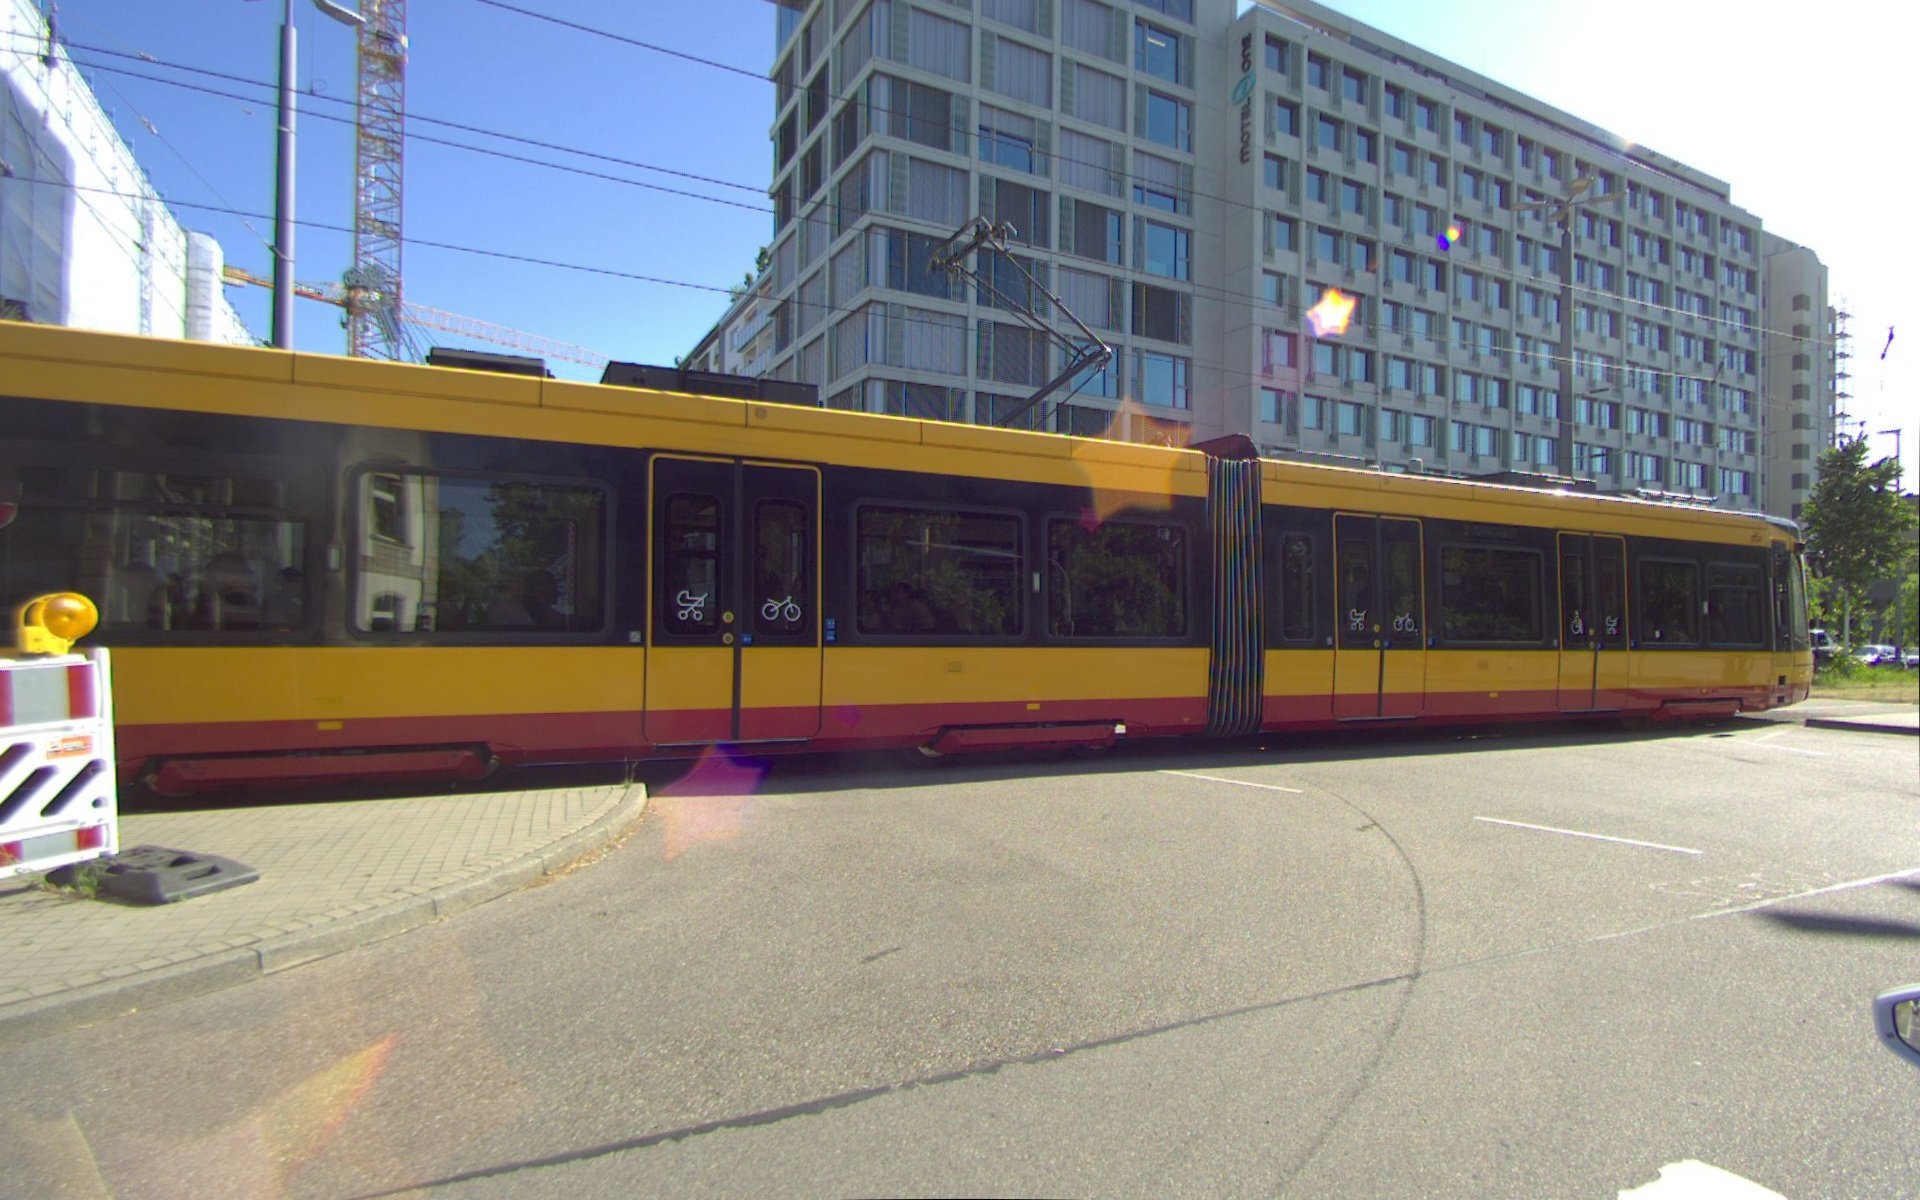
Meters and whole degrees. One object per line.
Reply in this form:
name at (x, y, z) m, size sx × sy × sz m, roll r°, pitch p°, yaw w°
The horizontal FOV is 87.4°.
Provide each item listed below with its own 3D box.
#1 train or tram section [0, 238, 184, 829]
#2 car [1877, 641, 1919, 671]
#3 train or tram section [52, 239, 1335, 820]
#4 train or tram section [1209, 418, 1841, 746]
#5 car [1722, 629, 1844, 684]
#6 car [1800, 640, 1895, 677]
train or tram section at (-12.301, -0.617, 4.302) m, size 13.967 × 3.718 × 1.987 m, roll 2°, pitch 0°, yaw -27°
car at (54.951, 3.207, 57.760) m, size 3.949 × 1.572 × 1.986 m, roll 2°, pitch -1°, yaw -27°
train or tram section at (-1.193, -0.288, 9.826) m, size 11.168 × 3.718 × 1.987 m, roll 2°, pitch 0°, yaw -27°
train or tram section at (8.883, -0.034, 14.850) m, size 11.531 × 3.718 × 1.987 m, roll 2°, pitch 0°, yaw -27°
car at (30.342, 2.069, 37.012) m, size 4.232 × 1.843 × 1.986 m, roll 2°, pitch 0°, yaw -28°
car at (40.935, 2.680, 46.348) m, size 3.949 × 1.572 × 1.986 m, roll 2°, pitch -1°, yaw -27°
